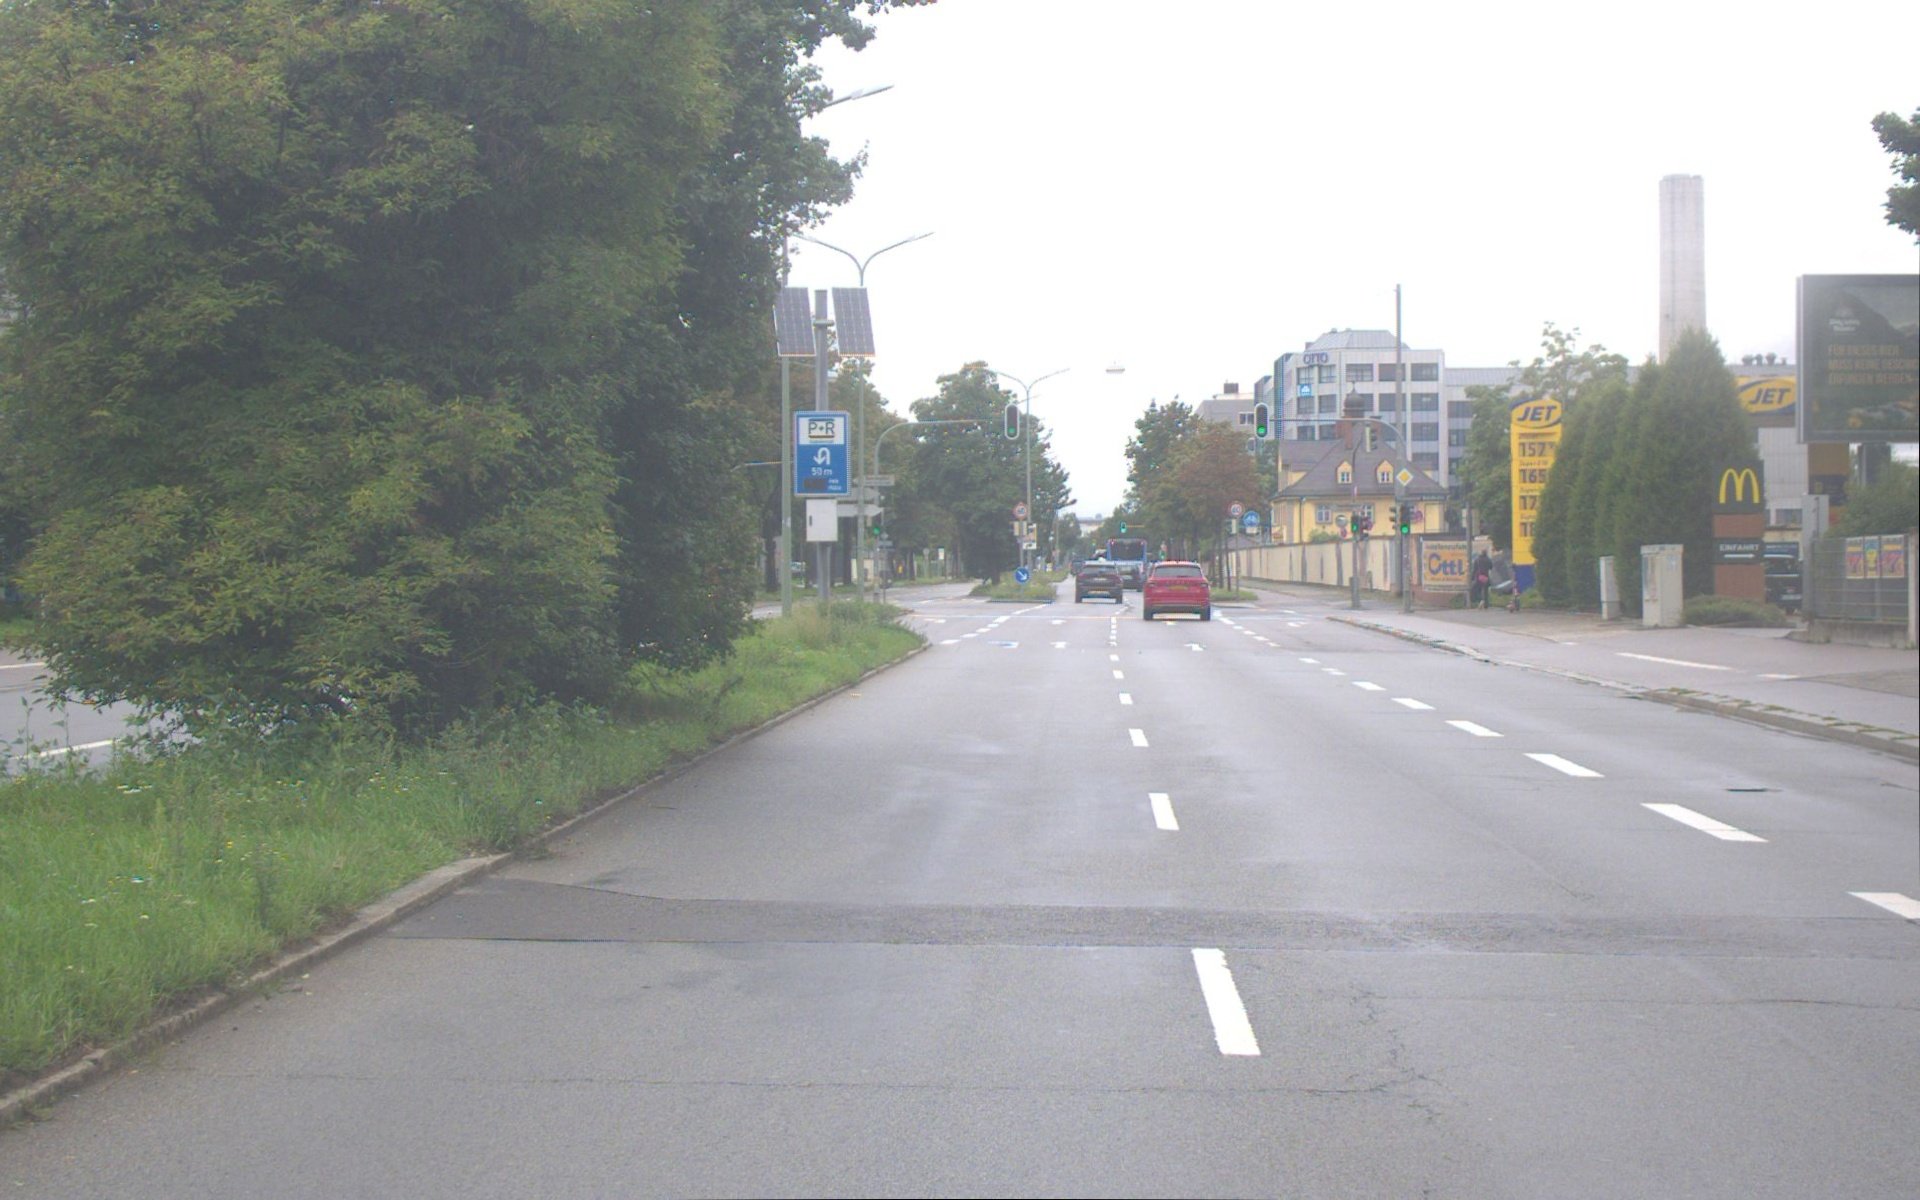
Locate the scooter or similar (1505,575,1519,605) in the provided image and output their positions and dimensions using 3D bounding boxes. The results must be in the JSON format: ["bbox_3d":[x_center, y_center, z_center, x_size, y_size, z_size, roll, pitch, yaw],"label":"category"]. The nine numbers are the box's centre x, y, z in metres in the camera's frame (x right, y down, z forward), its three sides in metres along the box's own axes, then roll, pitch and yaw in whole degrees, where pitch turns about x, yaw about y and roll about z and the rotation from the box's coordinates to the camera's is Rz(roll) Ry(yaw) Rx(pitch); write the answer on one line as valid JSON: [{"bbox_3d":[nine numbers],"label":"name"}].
[{"bbox_3d":[15.205,-0.285,94.719,0.175,0.820,0.778,0,1,25],"label":"scooter or similar"}]

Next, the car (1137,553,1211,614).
[{"bbox_3d":[5.820,-0.454,93.851,1.862,1.612,4.000,0,0,2],"label":"car"}]

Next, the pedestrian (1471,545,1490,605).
[{"bbox_3d":[14.272,-0.679,94.274,0.483,1.630,0.590,0,1,5],"label":"pedestrian"}]

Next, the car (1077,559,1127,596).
[{"bbox_3d":[5.610,-0.915,136.252,1.803,1.428,4.000,-1,1,0],"label":"car"}]

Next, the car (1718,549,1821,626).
[{"bbox_3d":[19.412,-0.325,82.567,1.754,1.788,4.000,0,1,4],"label":"car"}]

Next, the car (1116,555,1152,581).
[{"bbox_3d":[9.515,-1.753,188.173,1.803,1.428,4.000,0,0,0],"label":"car"}]

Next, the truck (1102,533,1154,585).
[{"bbox_3d":[10.874,-2.656,222.862,2.969,3.274,7.915,0,1,0],"label":"truck"}]
